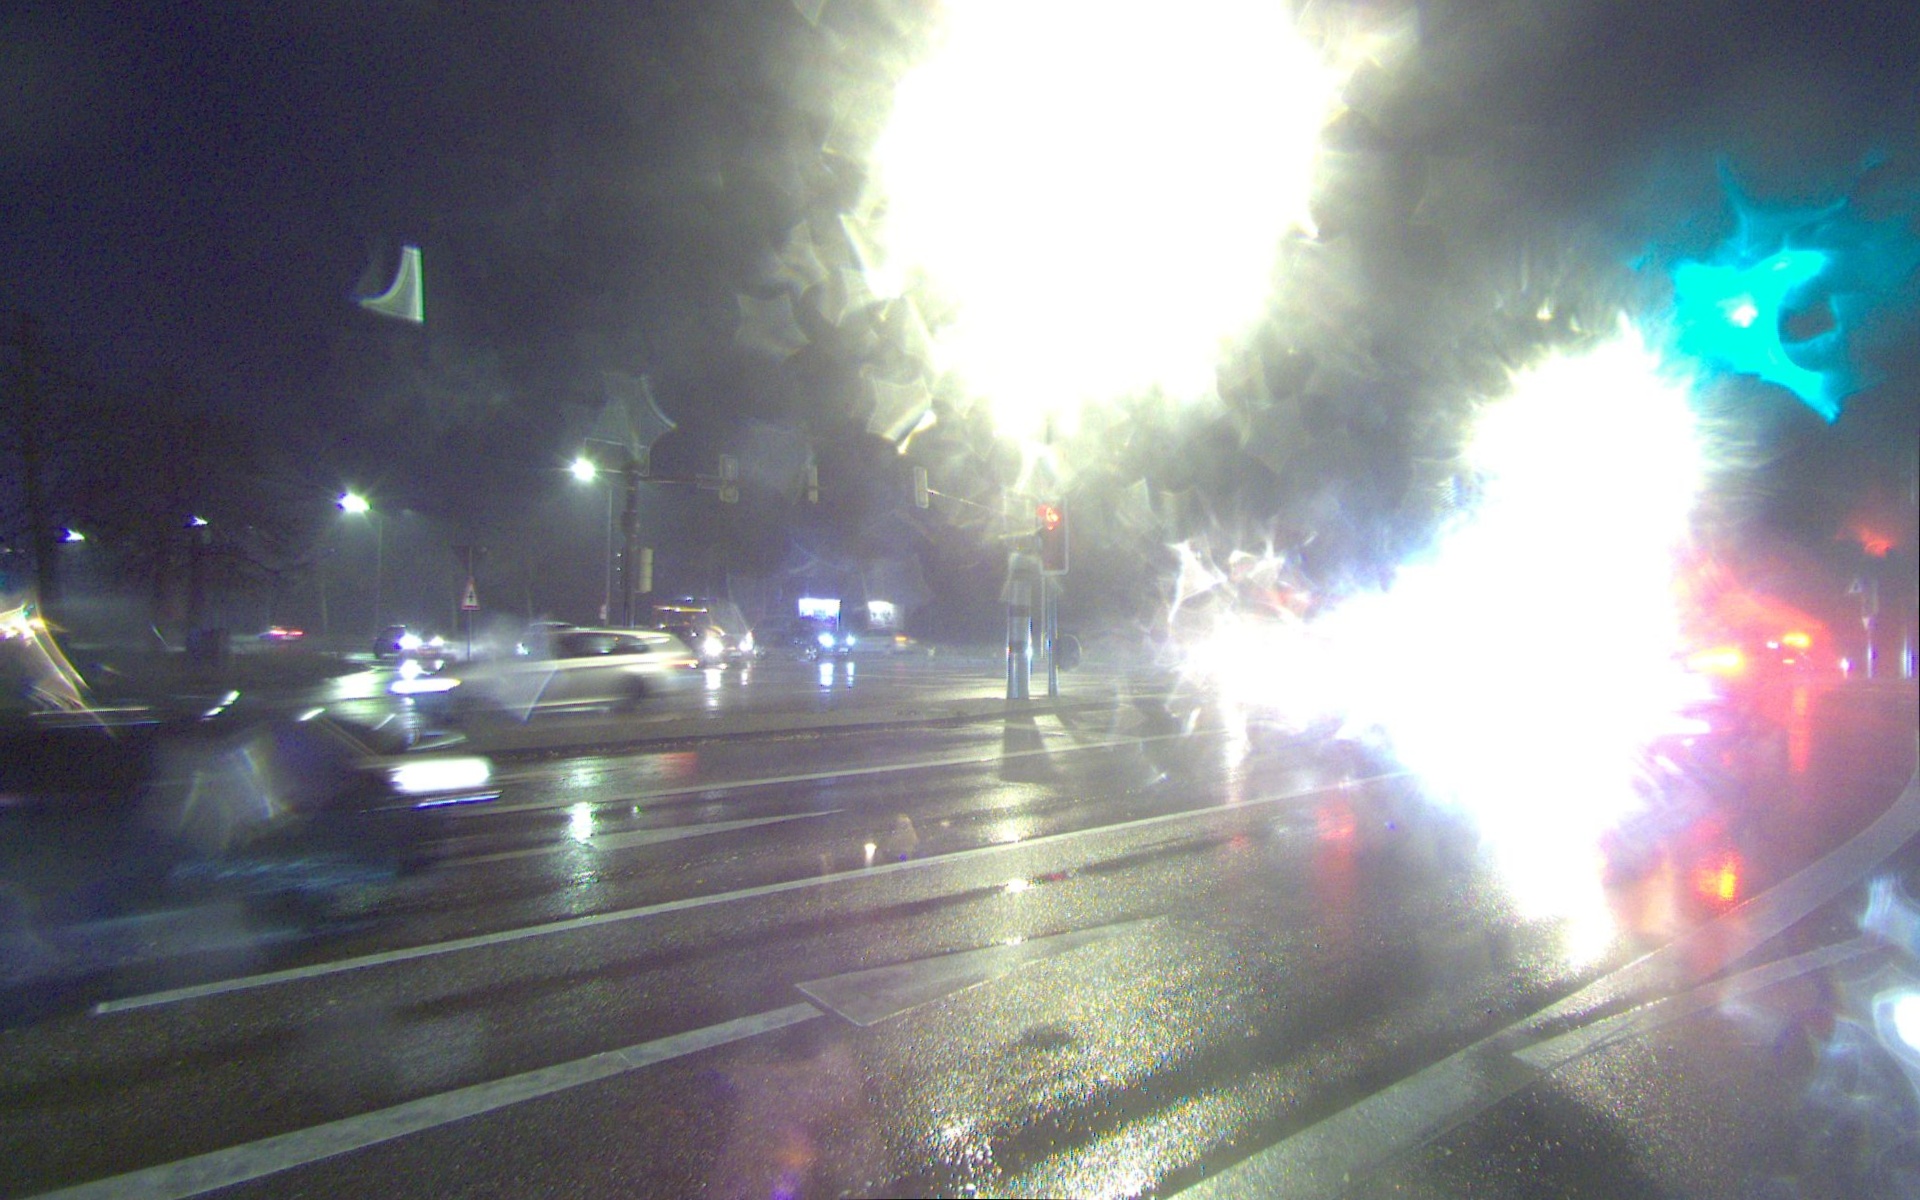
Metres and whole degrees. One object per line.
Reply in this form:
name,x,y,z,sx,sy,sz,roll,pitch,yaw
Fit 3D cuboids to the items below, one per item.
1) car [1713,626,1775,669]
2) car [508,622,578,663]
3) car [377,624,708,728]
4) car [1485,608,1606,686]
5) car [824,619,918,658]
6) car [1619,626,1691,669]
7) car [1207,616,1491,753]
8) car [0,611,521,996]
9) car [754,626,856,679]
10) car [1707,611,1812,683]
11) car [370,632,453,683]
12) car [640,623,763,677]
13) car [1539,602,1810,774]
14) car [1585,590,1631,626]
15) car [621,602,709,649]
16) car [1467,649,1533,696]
car,29.235,1.741,37.391,1.679,1.482,4.294,0,-2,40
car,-21.405,2.141,51.563,3.551,1.964,1.707,1,-1,36
car,-6.808,1.180,16.699,4.750,1.482,1.911,2,-3,-41
car,14.017,1.094,23.963,1.887,1.680,3.968,0,-2,40
car,-4.381,1.865,49.634,4.212,1.740,1.932,1,0,23
car,25.544,1.737,36.875,1.637,1.464,3.771,0,-2,43
car,5.183,0.986,13.108,4.258,1.455,1.720,2,0,-42
car,-4.277,0.770,4.329,4.083,1.426,1.817,1,-1,-37
car,-6.287,2.074,40.532,4.080,1.878,1.661,1,0,37
car,21.077,1.152,26.636,1.803,1.675,4.466,2,1,34
car,-25.131,2.589,45.983,3.931,2.107,1.659,1,0,33
car,-8.996,1.687,34.826,4.191,1.654,1.951,1,0,37
car,8.314,0.891,11.547,3.996,1.613,1.832,2,-1,-44
car,39.734,0.511,61.550,1.756,2.106,3.978,2,0,42
car,-13.671,1.149,46.417,4.080,2.051,1.787,1,0,37
car,25.881,3.423,48.069,1.794,2.040,3.977,1,-1,43
